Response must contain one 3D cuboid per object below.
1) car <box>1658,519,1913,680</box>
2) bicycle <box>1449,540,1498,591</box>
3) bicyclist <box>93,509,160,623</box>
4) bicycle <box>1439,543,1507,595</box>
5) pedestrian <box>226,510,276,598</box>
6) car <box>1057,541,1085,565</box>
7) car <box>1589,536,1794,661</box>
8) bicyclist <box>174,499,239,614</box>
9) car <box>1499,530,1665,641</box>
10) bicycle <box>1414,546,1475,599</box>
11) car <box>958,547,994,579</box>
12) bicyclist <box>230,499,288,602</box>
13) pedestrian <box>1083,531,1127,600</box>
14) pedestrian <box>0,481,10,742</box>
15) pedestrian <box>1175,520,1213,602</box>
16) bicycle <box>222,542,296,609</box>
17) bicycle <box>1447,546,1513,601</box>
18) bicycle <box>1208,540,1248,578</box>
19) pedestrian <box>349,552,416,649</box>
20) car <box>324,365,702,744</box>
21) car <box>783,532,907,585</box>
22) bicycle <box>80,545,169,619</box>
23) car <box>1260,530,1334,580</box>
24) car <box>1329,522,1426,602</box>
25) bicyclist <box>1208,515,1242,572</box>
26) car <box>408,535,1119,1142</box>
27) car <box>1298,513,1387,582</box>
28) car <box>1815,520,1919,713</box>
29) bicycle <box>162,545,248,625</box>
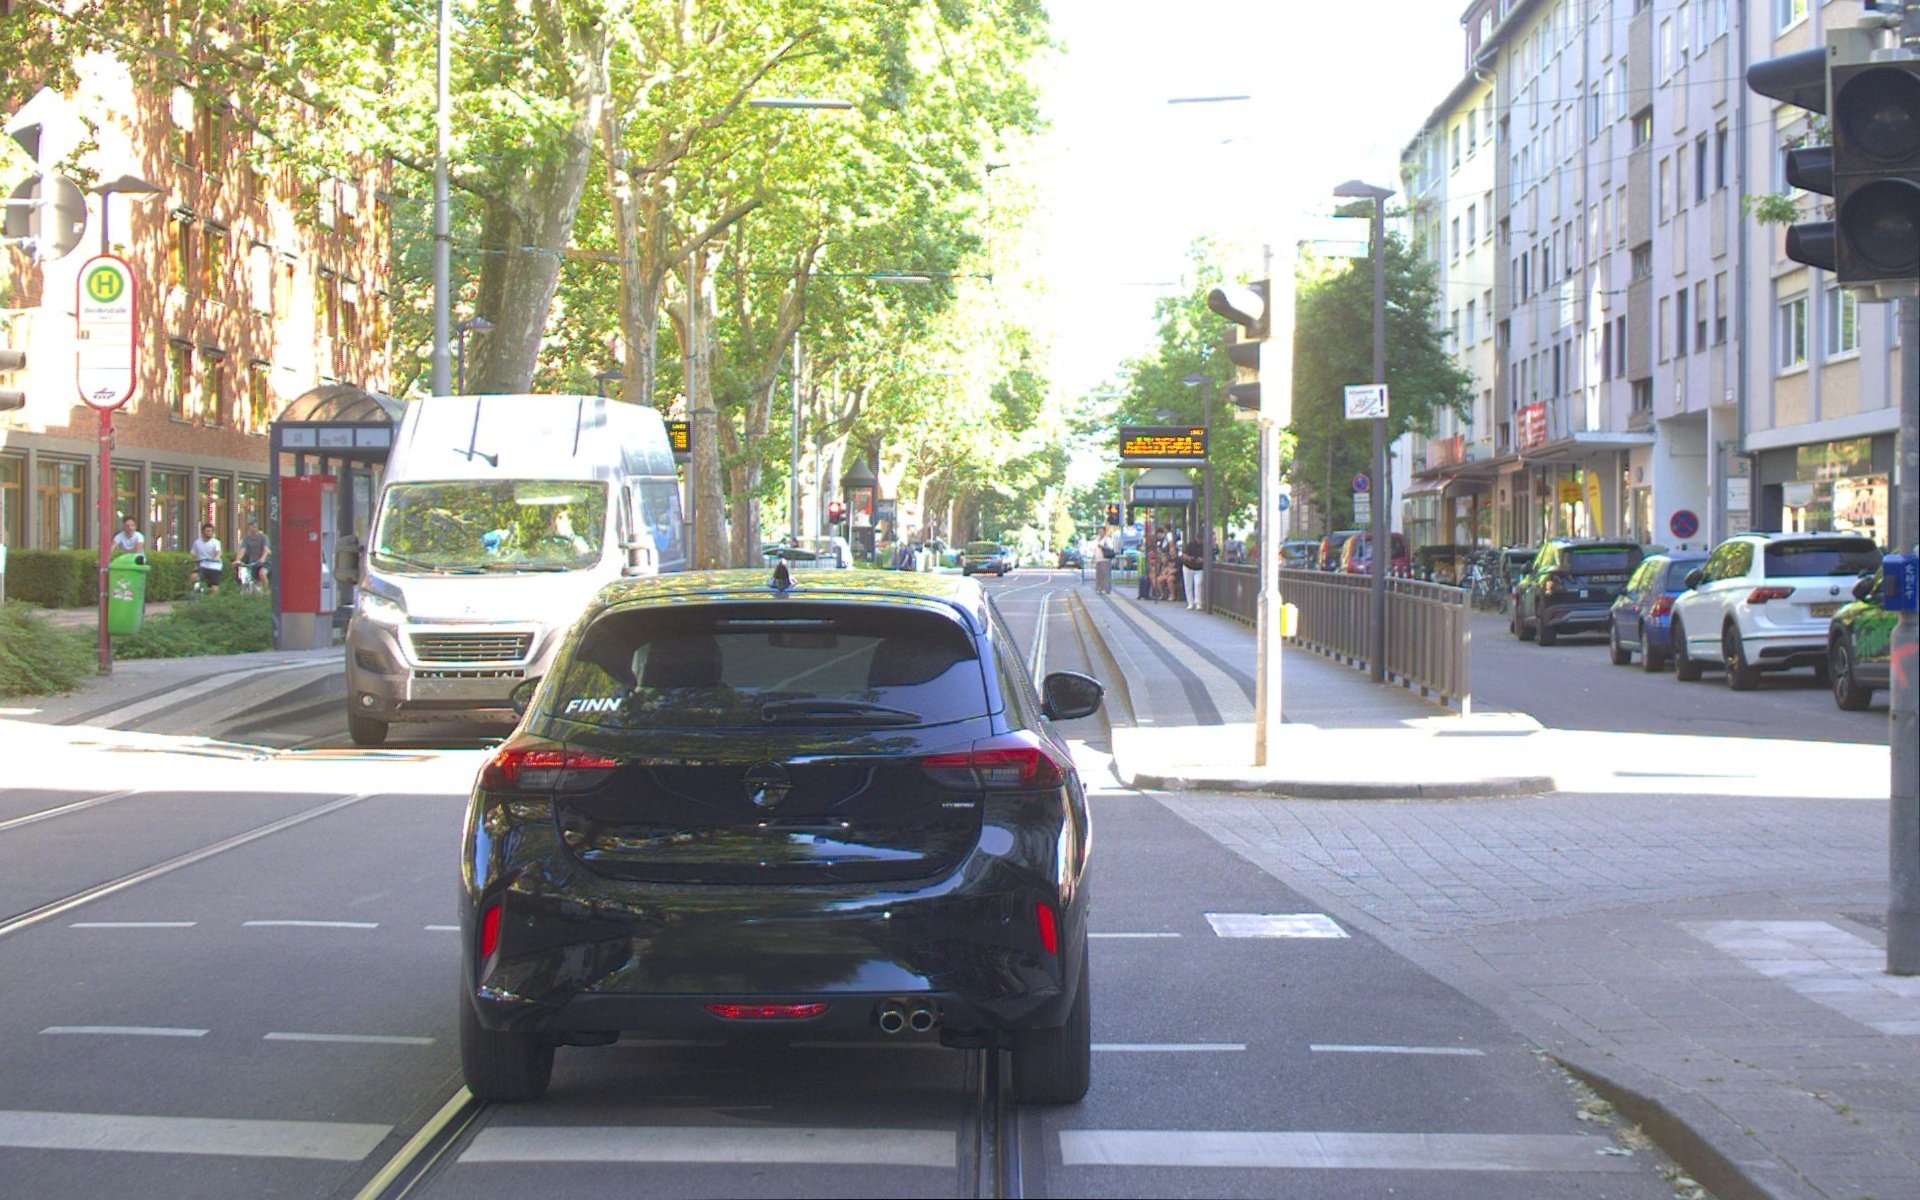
[{"bbox_3d":[8.919,-0.027,37.479,1.799,1.600,4.415,1,1,2],"label":"car"},{"bbox_3d":[11.773,-0.797,78.860,0.410,1.132,2.204,1,1,-10],"label":"bicycle"},{"bbox_3d":[-12.943,-0.527,53.425,0.774,1.744,0.997,1,0,-1],"label":"bicyclist"},{"bbox_3d":[11.489,-0.705,77.095,0.611,1.132,2.922,1,1,-10],"label":"bicycle"},{"bbox_3d":[-13.703,-0.893,66.466,0.735,1.666,0.861,1,0,2],"label":"pedestrian"},{"bbox_3d":[7.604,-3.221,235.613,1.745,1.539,4.000,1,1,0],"label":"car"},{"bbox_3d":[9.091,-0.038,43.012,1.744,1.435,4.247,1,1,2],"label":"car"},{"bbox_3d":[-11.691,-0.673,53.358,0.782,1.757,0.951,1,0,-1],"label":"bicyclist"},{"bbox_3d":[9.619,-0.241,53.467,1.857,1.610,4.397,1,1,2],"label":"car"},{"bbox_3d":[10.638,-0.605,75.575,0.602,1.132,2.435,1,1,-10],"label":"bicycle"},{"bbox_3d":[0.778,-1.827,170.160,1.745,1.539,4.000,1,1,0],"label":"car"},{"bbox_3d":[-12.134,-0.859,59.543,0.774,1.744,0.997,1,0,-1],"label":"bicyclist"},{"bbox_3d":[3.653,-0.862,86.605,0.751,1.703,0.762,2,0,36],"label":"pedestrian"},{"bbox_3d":[-7.185,0.089,23.878,0.924,1.829,0.920,1,3,-2],"label":"pedestrian"},{"bbox_3d":[4.592,-0.762,67.523,0.631,1.571,0.870,3,1,2],"label":"pedestrian"},{"bbox_3d":[-12.140,-0.425,59.576,0.782,1.107,2.596,1,1,-1],"label":"bicycle"},{"bbox_3d":[11.050,-0.575,73.130,0.621,1.132,2.440,1,1,-10],"label":"bicycle"},{"bbox_3d":[8.326,-1.278,106.948,0.861,1.132,2.396,1,1,-5],"label":"bicycle"},{"bbox_3d":[-7.021,0.001,41.825,0.705,1.164,0.659,-1,0,-1],"label":"pedestrian"},{"bbox_3d":[-3.461,-0.358,27.913,2.113,2.729,6.115,0,0,1],"label":"car"},{"bbox_3d":[-3.959,-1.430,117.833,4.113,1.695,1.884,1,0,-5],"label":"car"},{"bbox_3d":[-12.952,-0.282,53.344,0.782,1.107,2.596,1,1,-1],"label":"bicycle"},{"bbox_3d":[10.429,-1.398,106.655,1.993,1.481,4.000,1,1,2],"label":"car"},{"bbox_3d":[10.619,-0.961,87.758,1.993,1.946,4.000,1,1,1],"label":"car"},{"bbox_3d":[8.289,-1.753,107.593,0.861,1.753,1.054,1,0,-5],"label":"bicyclist"},{"bbox_3d":[-0.504,0.575,10.369,1.759,1.503,3.683,0,1,-1],"label":"car"},{"bbox_3d":[10.465,-1.425,94.321,1.993,1.791,4.000,1,1,1],"label":"car"},{"bbox_3d":[9.056,0.133,30.372,1.993,1.610,4.445,1,1,2],"label":"car"},{"bbox_3d":[-11.719,-0.240,53.446,0.782,1.187,2.596,1,1,-1],"label":"bicycle"}]
